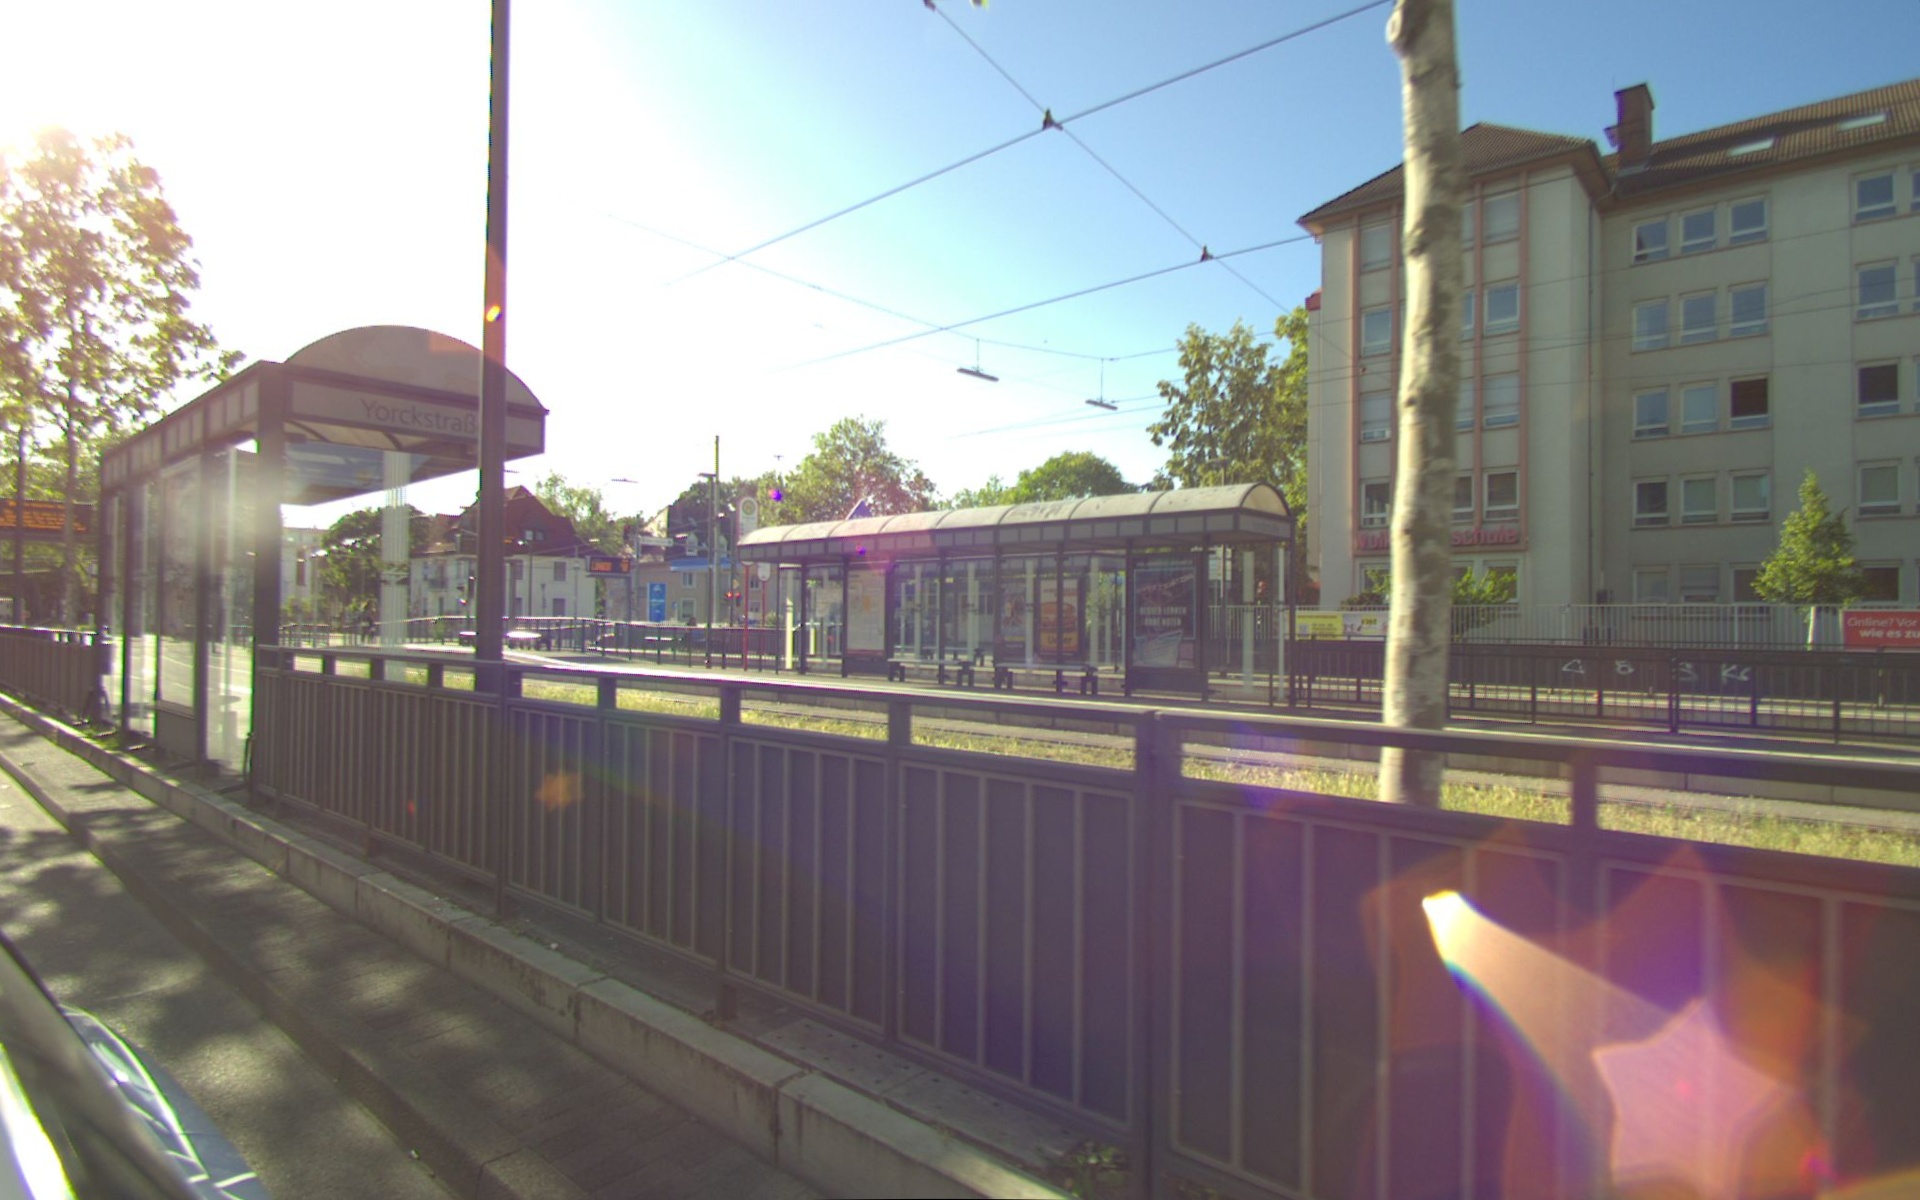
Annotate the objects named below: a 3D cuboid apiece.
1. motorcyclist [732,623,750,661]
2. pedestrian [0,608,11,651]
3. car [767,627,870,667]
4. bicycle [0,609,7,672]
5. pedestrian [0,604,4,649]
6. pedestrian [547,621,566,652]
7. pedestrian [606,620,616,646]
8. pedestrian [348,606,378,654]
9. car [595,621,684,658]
[{"bbox_3d":[-10.992,2.109,50.851,0.544,1.866,0.745,2,-2,-45],"label":"motorcyclist"},{"bbox_3d":[-39.050,1.194,41.026,1.008,1.703,0.792,-1,-2,44],"label":"pedestrian"},{"bbox_3d":[-5.423,1.754,38.631,4.000,1.431,1.778,-1,-2,43],"label":"car"},{"bbox_3d":[-22.055,0.897,22.832,2.169,1.390,0.632,-1,-2,43],"label":"bicycle"},{"bbox_3d":[-39.843,1.103,41.653,0.808,1.846,0.642,-1,-2,44],"label":"pedestrian"},{"bbox_3d":[-22.111,2.008,55.463,0.824,1.703,0.646,-1,-2,33],"label":"pedestrian"},{"bbox_3d":[-23.897,2.278,69.242,0.486,1.783,0.523,1,-2,-37],"label":"pedestrian"},{"bbox_3d":[-20.468,1.021,34.696,0.735,1.604,0.677,-1,-2,42],"label":"pedestrian"},{"bbox_3d":[-13.143,1.594,41.418,4.000,1.431,1.778,-1,-2,43],"label":"car"}]
